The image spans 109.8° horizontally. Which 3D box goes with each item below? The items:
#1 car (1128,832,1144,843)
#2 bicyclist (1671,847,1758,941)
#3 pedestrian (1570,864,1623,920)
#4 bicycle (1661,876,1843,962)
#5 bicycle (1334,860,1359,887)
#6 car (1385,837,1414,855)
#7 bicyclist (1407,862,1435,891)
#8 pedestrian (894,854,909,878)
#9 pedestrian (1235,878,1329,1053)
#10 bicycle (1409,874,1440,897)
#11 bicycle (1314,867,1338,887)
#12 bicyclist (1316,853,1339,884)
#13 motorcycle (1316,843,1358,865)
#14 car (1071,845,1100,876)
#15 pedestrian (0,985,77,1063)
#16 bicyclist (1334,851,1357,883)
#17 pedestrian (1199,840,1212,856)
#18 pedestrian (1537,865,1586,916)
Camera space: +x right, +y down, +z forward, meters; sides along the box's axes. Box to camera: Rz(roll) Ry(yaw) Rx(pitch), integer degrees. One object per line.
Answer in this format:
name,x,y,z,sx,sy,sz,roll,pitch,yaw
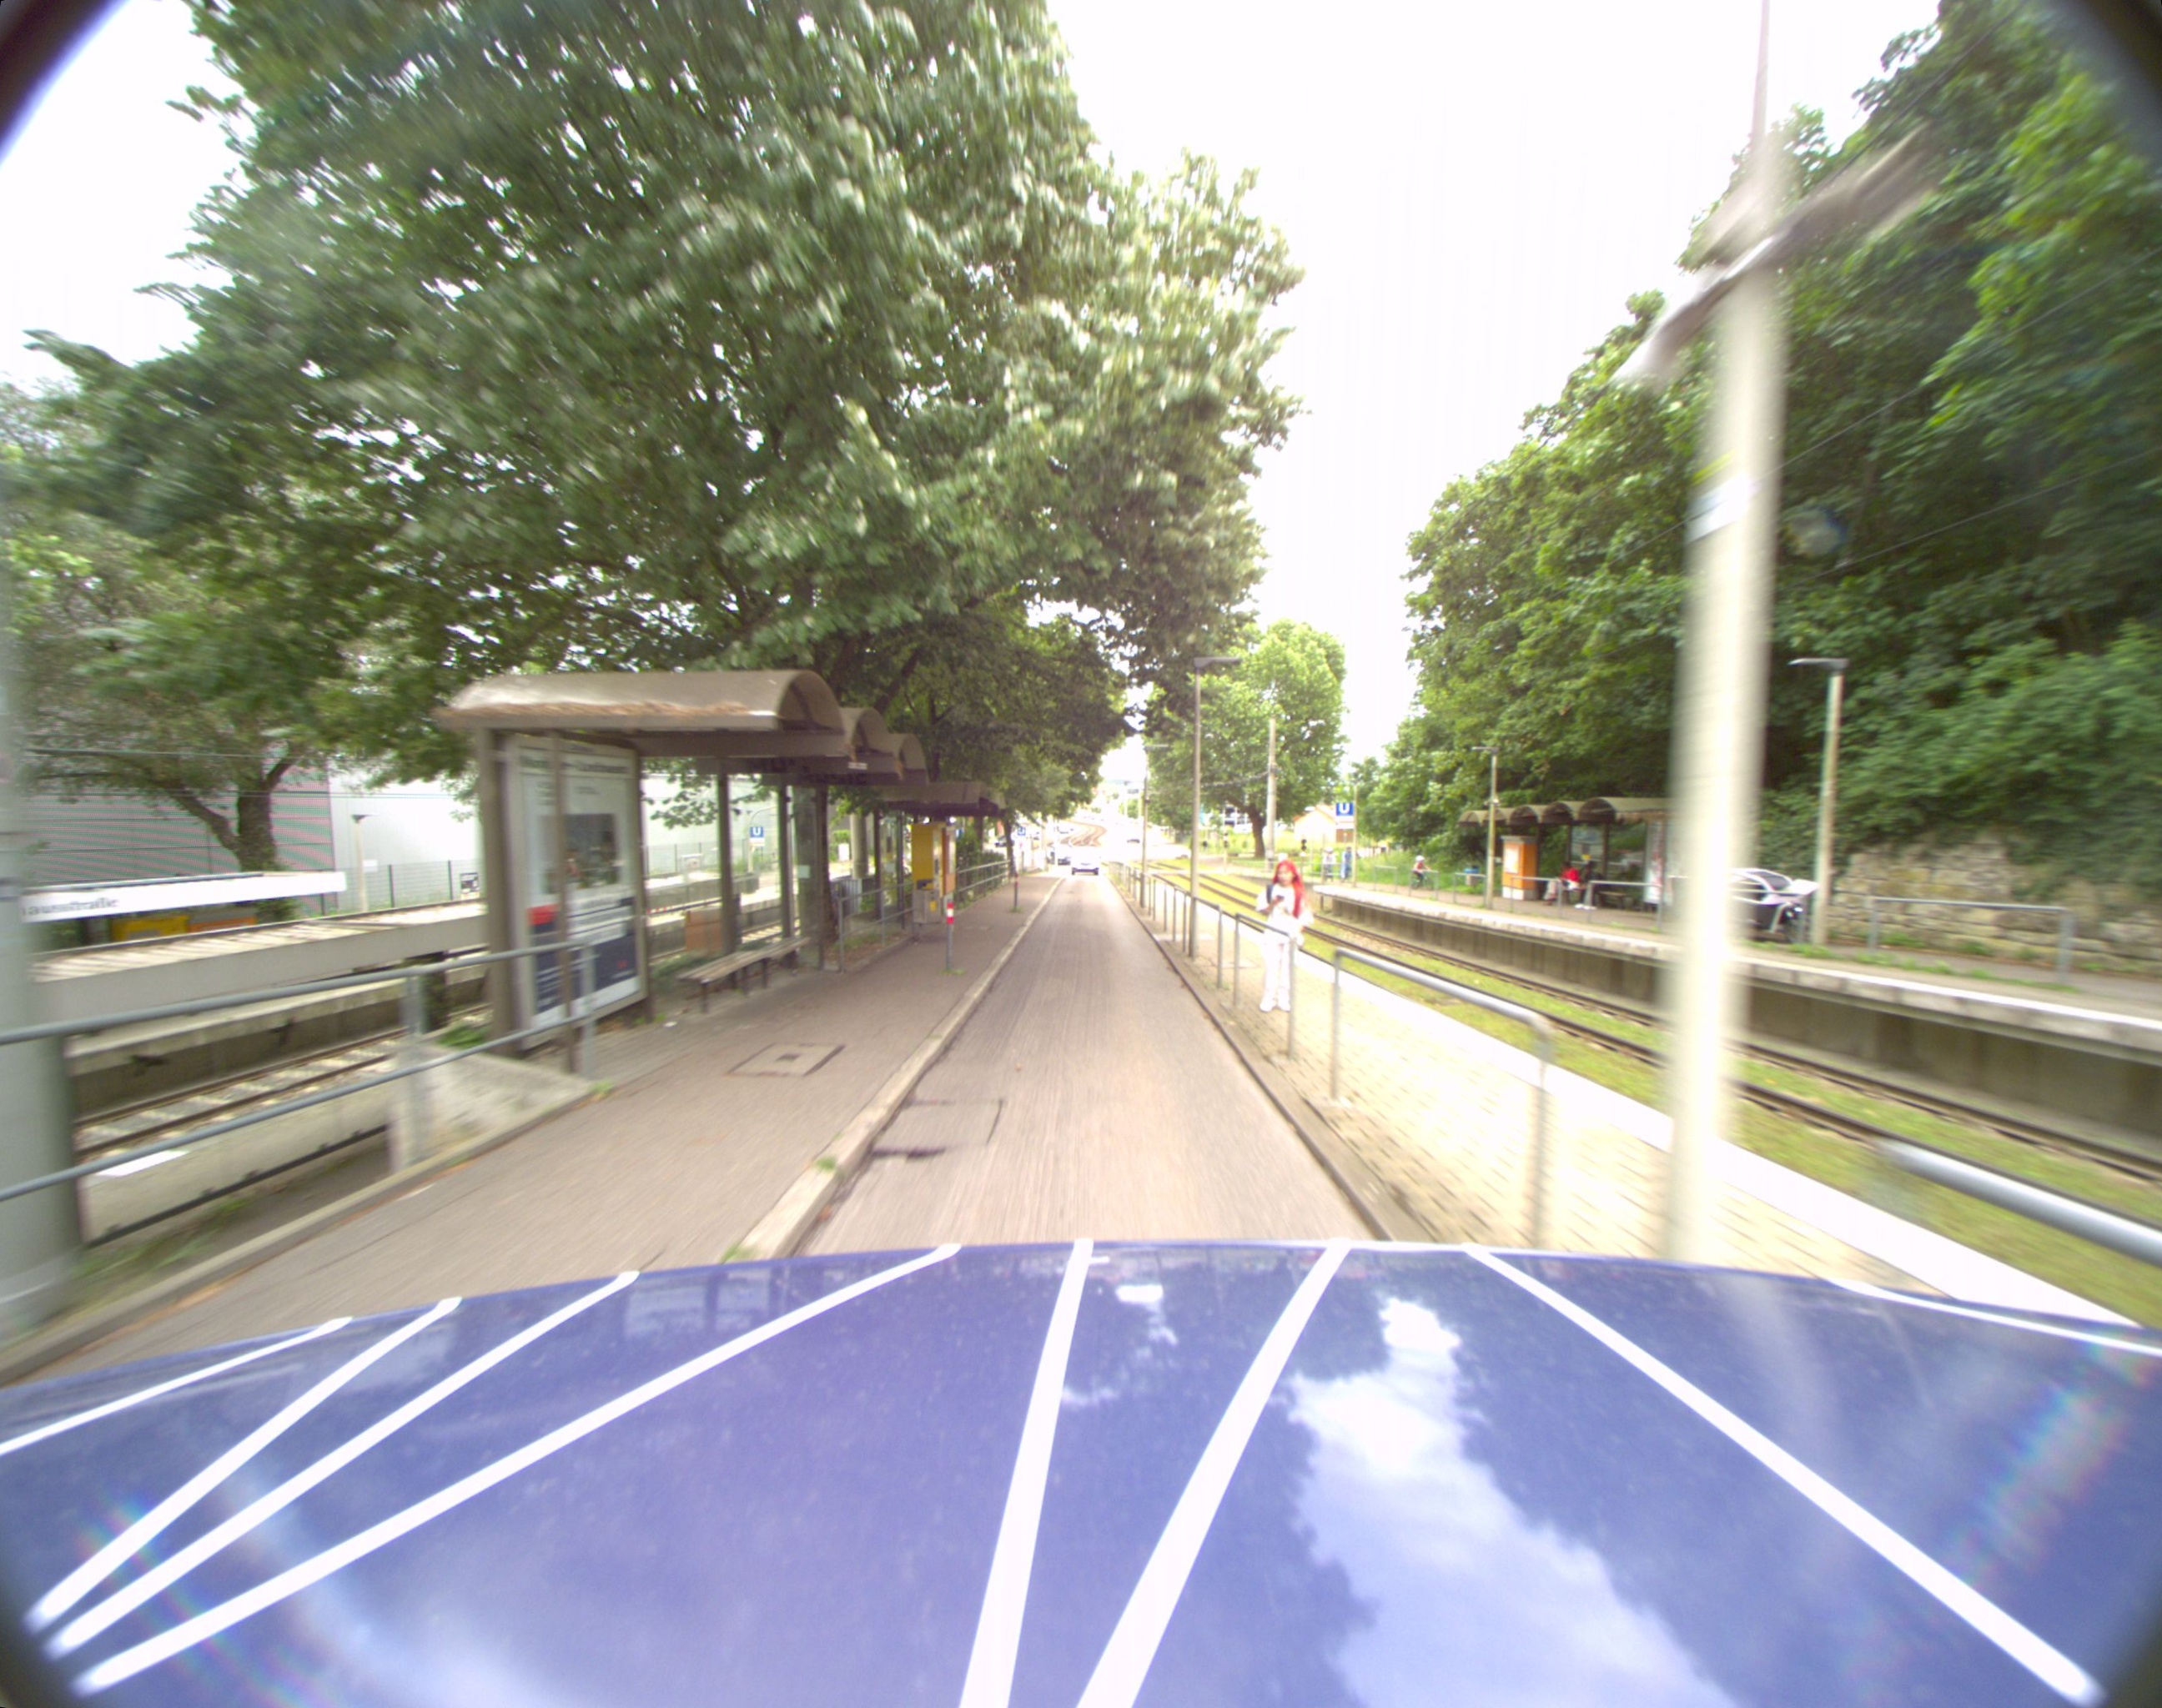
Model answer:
car,8.126,-2.422,111.428,1.997,1.648,4.001,-1,1,8
bicyclist,11.391,0.700,13.704,0.706,1.619,1.033,-2,0,4
pedestrian,13.343,0.970,19.695,0.823,1.367,0.774,-1,2,-5
bicycle,11.388,1.040,13.087,0.752,1.233,2.867,-2,0,4
bicycle,11.950,0.881,34.225,0.464,1.181,1.940,-1,0,1
car,32.013,-0.797,76.355,1.994,1.674,4.007,0,2,32
bicyclist,12.460,0.833,27.893,0.691,1.047,0.744,-1,0,1
pedestrian,-12.388,0.820,52.531,0.752,1.666,0.684,0,2,12
pedestrian,1.838,0.988,7.019,0.626,1.493,0.739,-1,0,-2
bicycle,12.543,1.134,27.791,0.451,0.776,1.565,-1,0,1
bicycle,11.549,1.079,35.827,0.479,0.919,1.844,-1,-1,-2
bicyclist,11.534,0.676,35.567,0.747,1.422,0.907,-1,-1,-5
motorcycle,19.567,-0.002,58.061,3.064,1.543,1.257,-2,2,-26
car,0.298,0.400,50.440,1.810,1.910,4.477,-1,1,1
pedestrian,-18.881,2.999,13.494,0.778,1.160,0.954,-1,2,8
bicyclist,11.936,0.585,34.262,0.732,1.434,0.840,-1,0,-1
pedestrian,13.280,-0.667,81.165,1.115,1.724,0.695,0,2,37
pedestrian,13.146,0.992,20.812,0.823,1.315,0.774,-1,2,-5
